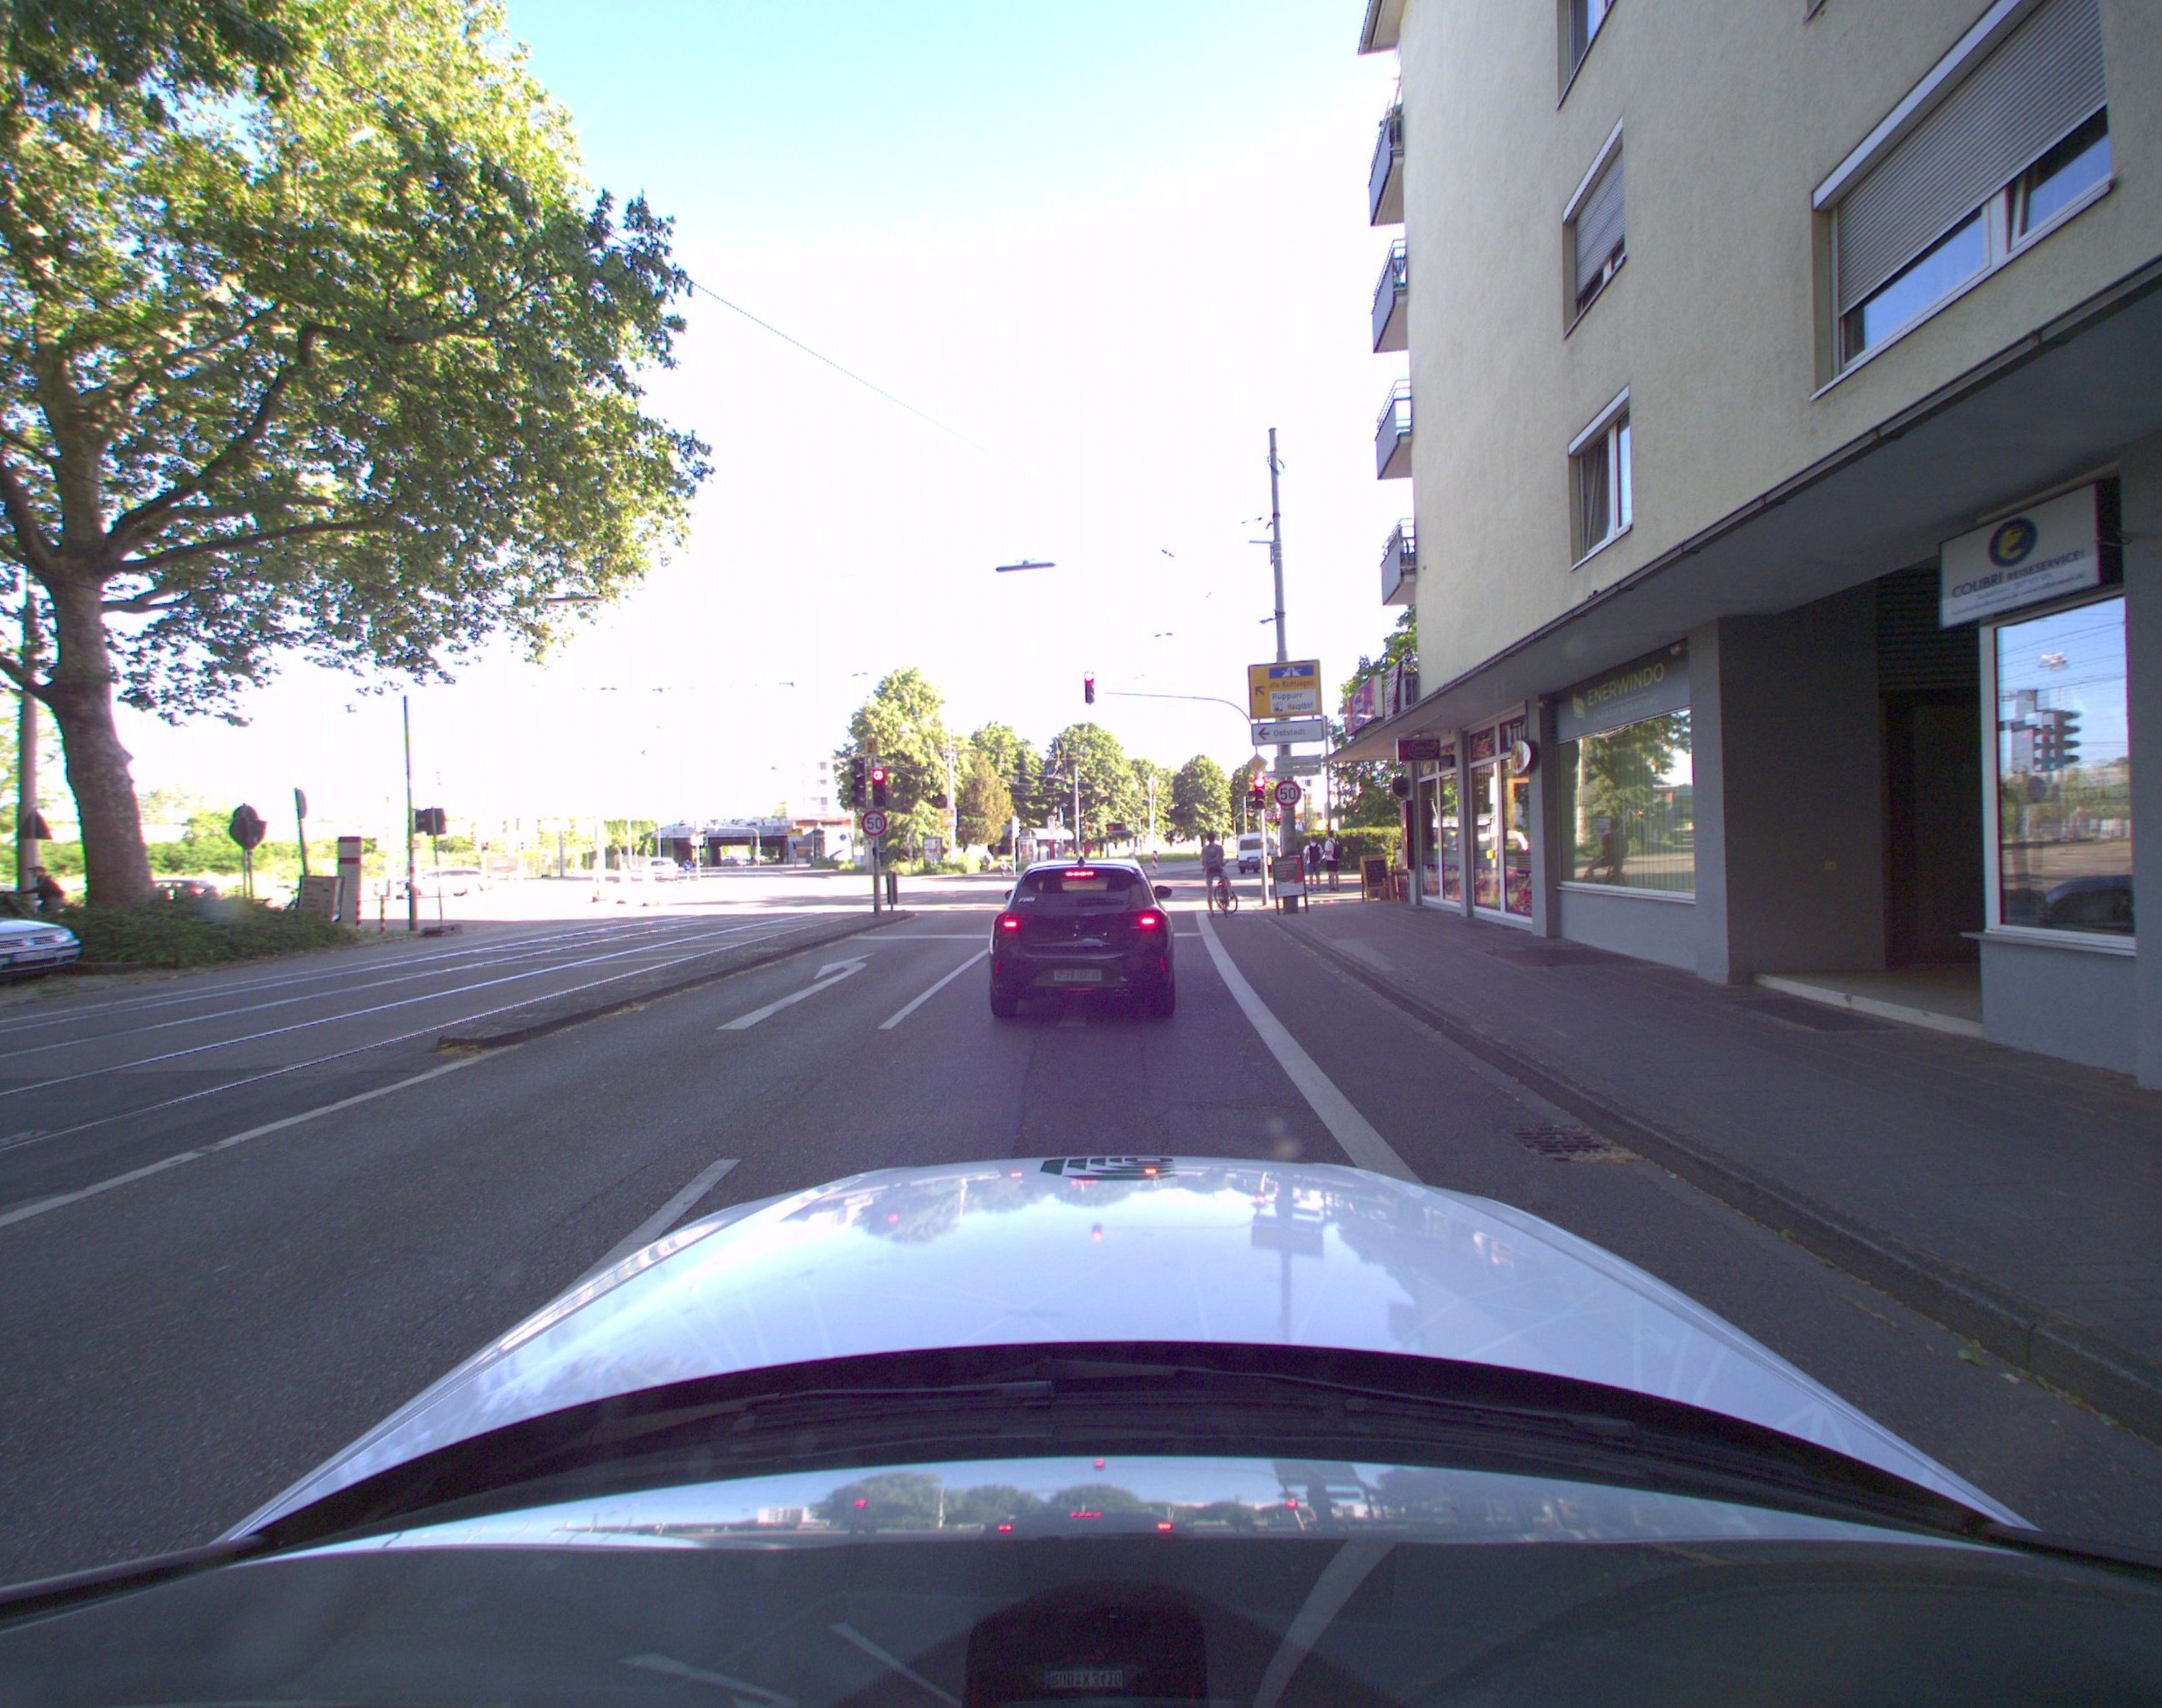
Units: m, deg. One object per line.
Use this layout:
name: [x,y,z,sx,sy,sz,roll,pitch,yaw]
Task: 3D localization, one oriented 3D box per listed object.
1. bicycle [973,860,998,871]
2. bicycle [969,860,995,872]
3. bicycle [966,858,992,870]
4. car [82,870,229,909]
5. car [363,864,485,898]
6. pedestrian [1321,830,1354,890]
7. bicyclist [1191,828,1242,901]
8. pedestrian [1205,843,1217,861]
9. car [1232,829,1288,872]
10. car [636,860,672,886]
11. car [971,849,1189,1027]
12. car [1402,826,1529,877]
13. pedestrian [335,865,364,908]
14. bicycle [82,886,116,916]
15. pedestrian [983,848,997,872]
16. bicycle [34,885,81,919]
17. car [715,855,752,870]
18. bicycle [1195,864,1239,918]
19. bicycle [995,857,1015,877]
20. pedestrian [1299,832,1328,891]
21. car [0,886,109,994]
bicycle: [-7.753,0.930,66.036,1.866,0.906,0.661,-2,0,8]
bicycle: [-7.930,0.924,65.169,1.866,0.906,0.661,-2,0,8]
bicycle: [-8.061,0.782,64.186,1.866,0.906,0.661,-2,0,8]
car: [-43.124,1.628,38.083,4.006,1.419,1.880,-1,6,-25]
car: [-32.745,1.304,40.670,2.069,1.531,4.333,-1,-1,35]
pedestrian: [8.029,0.187,25.507,0.696,1.846,0.705,-2,0,41]
bicyclist: [2.954,0.217,17.874,0.837,1.510,1.368,-2,0,0]
pedestrian: [13.098,-0.175,82.107,0.949,1.793,1.002,-2,0,27]
car: [10.140,-0.172,45.935,2.070,2.277,4.331,-1,-1,26]
car: [-29.598,1.278,56.376,2.006,1.631,4.586,-2,1,-30]
car: [0.105,0.697,8.818,1.793,1.441,3.943,-2,0,3]
car: [15.082,-0.062,32.144,4.150,1.814,1.811,-2,-3,10]
pedestrian: [-27.467,1.210,30.579,0.602,1.596,0.679,0,-1,-24]
bicycle: [-26.329,1.252,21.828,1.757,0.759,0.360,-1,0,32]
pedestrian: [-6.630,0.414,59.258,0.719,1.693,0.704,-2,0,20]
bicycle: [-25.064,1.155,19.954,0.360,0.759,1.759,-2,0,-40]
car: [-46.137,1.105,108.189,3.965,2.014,2.004,0,-1,7]
bicycle: [2.963,0.774,17.881,0.665,1.059,2.083,-2,0,2]
bicycle: [-4.368,0.751,46.880,0.821,1.059,1.885,-2,0,4]
pedestrian: [7.272,0.220,25.470,0.696,1.792,0.617,-2,0,1]
car: [-16.671,1.204,11.324,3.980,1.417,1.701,0,-1,-5]
